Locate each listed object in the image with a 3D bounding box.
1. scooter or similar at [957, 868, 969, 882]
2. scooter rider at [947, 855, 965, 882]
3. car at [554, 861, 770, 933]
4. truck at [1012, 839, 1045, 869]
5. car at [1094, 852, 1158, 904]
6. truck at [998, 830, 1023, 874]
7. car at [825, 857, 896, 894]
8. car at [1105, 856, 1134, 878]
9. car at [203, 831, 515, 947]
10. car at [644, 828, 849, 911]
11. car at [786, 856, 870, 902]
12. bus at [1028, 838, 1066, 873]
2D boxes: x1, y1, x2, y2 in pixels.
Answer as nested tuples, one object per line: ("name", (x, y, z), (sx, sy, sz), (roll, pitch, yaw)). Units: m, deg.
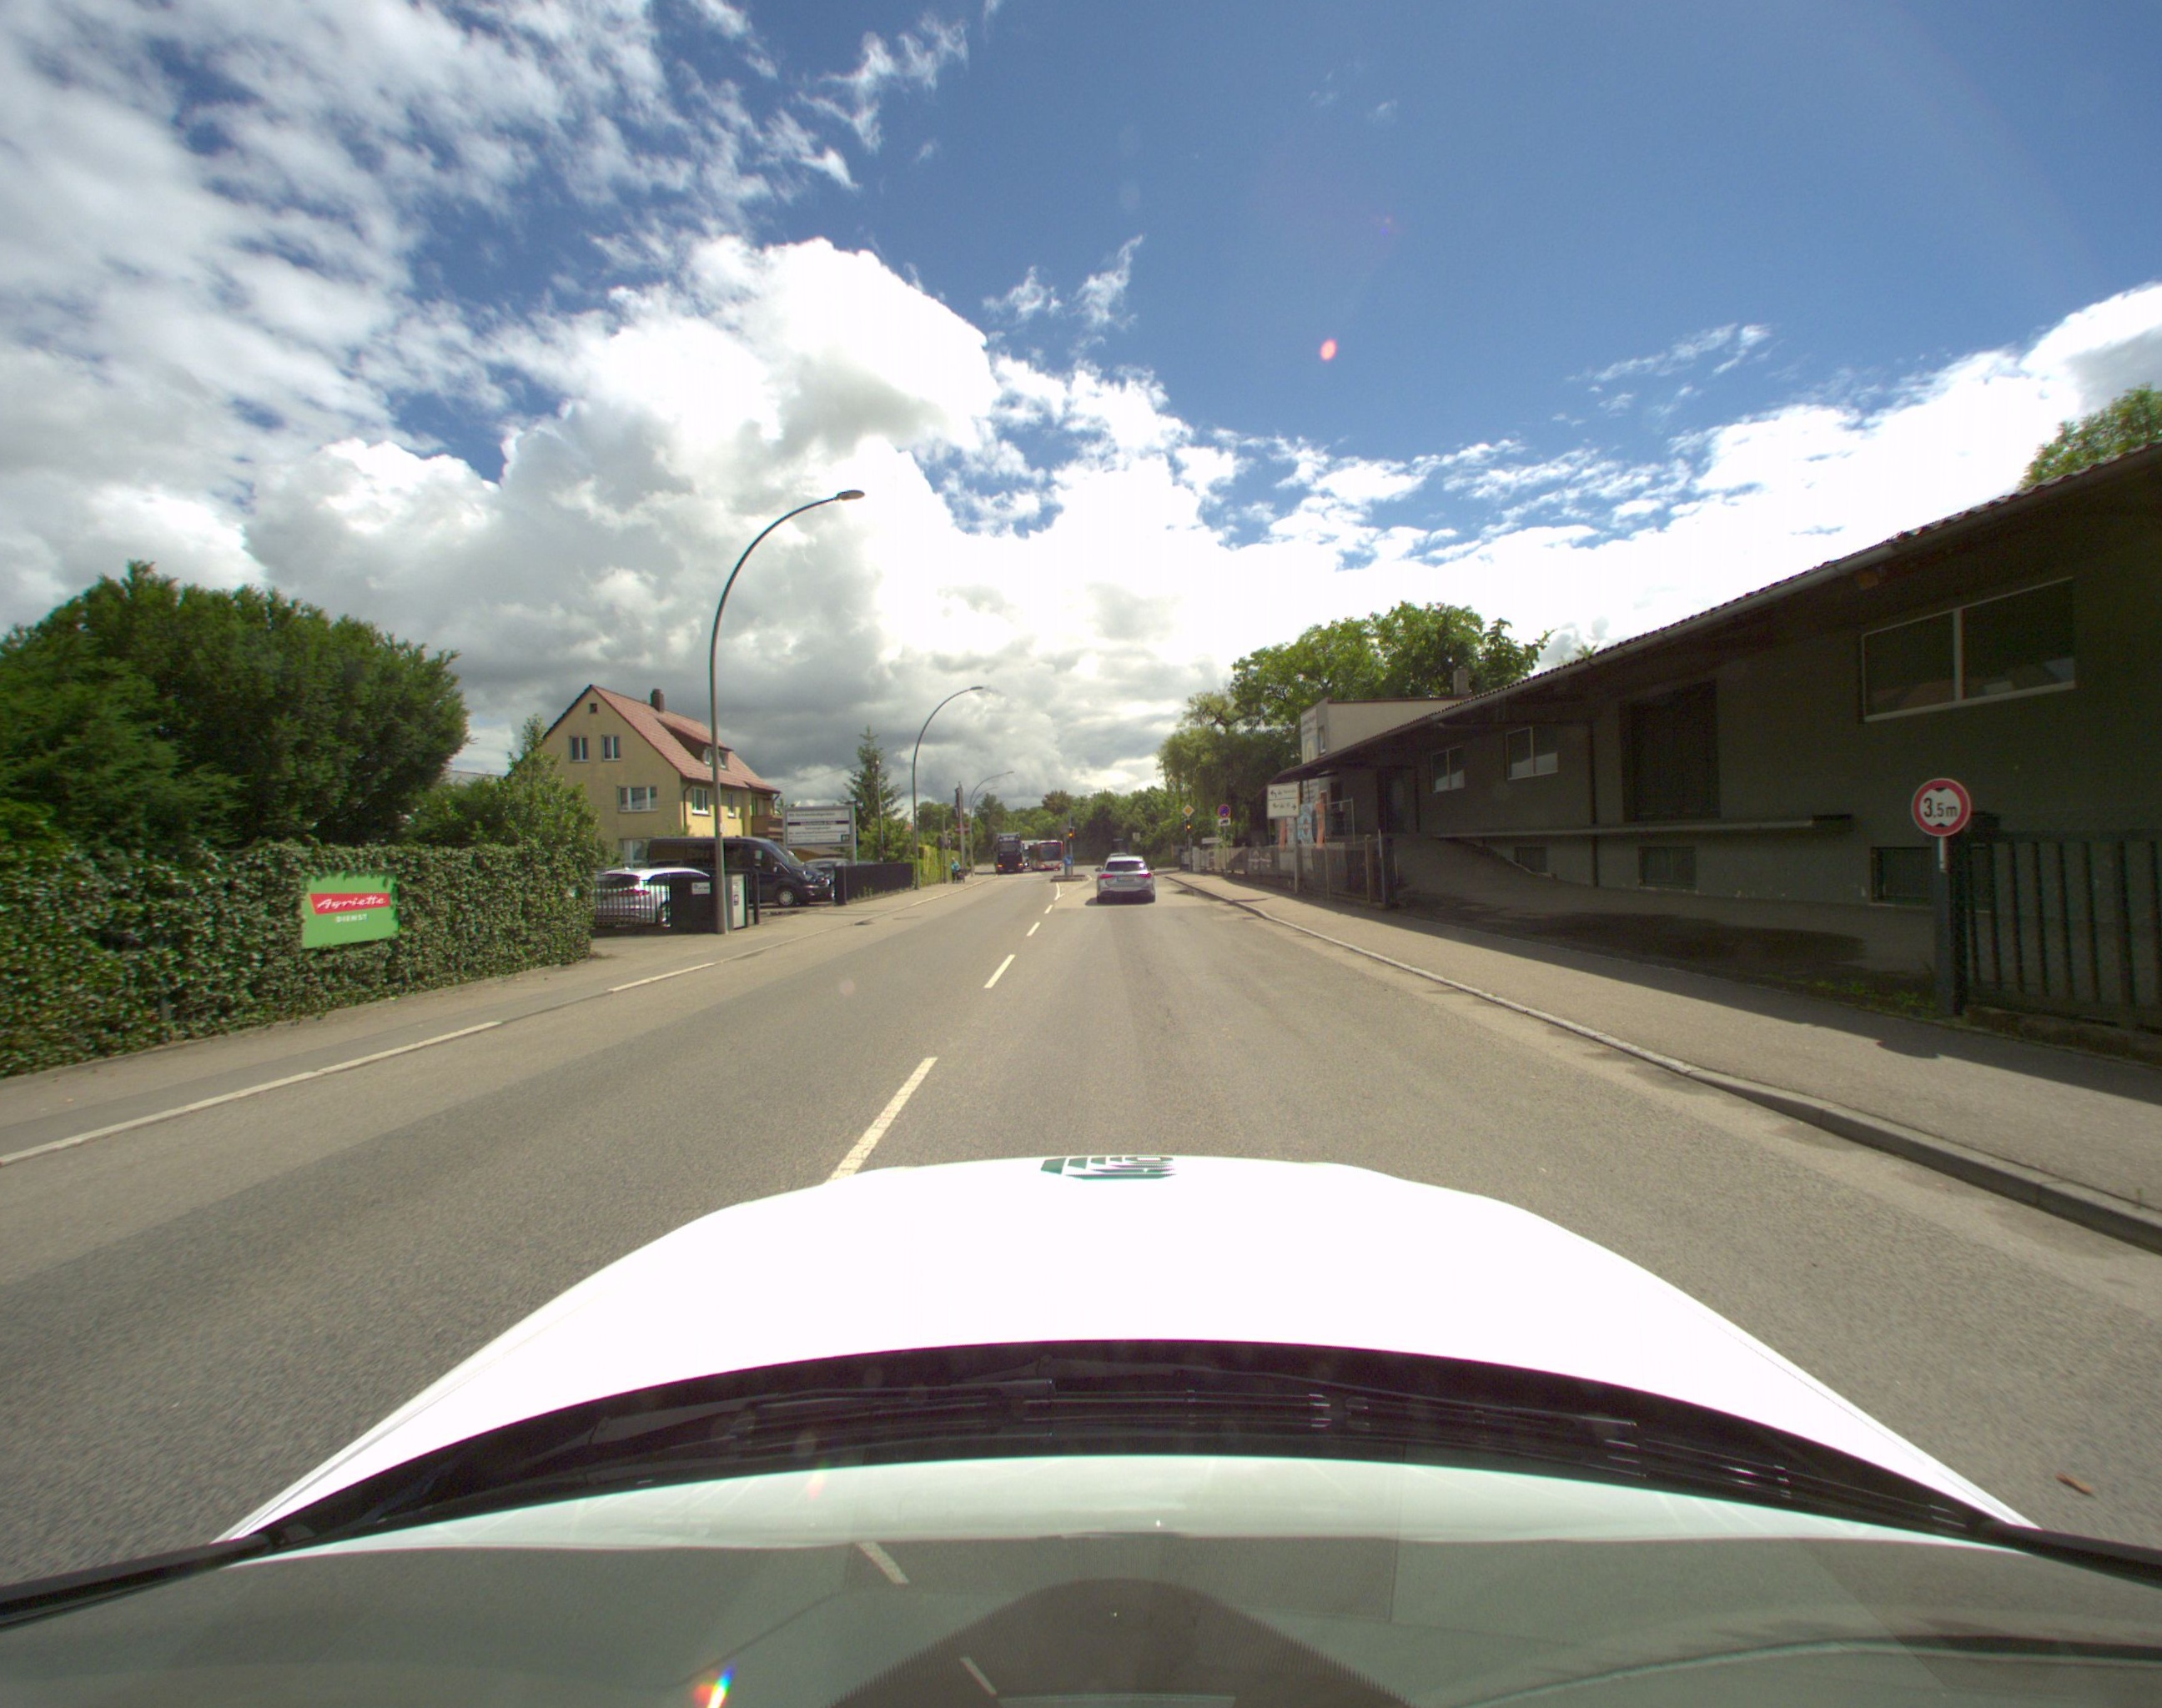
("scooter or similar", (-7.110, 1.270, 49.245), (0.609, 0.831, 0.659), (-1, 0, 1))
("scooter rider", (-7.622, 0.889, 49.624), (0.875, 1.589, 0.796), (-2, 0, 1))
("car", (-10.518, 1.005, 21.081), (1.980, 1.486, 5.358), (-2, 0, 12))
("truck", (-6.919, 0.041, 105.968), (2.841, 3.540, 9.687), (-3, 0, -11))
("car", (1.467, 0.714, 26.358), (1.876, 1.508, 4.004), (-2, 0, 4))
("truck", (-7.099, -0.163, 82.148), (2.425, 4.131, 9.134), (0, -1, -5))
("car", (-9.928, 0.928, 37.019), (2.148, 1.507, 4.264), (-3, 0, -2))
("car", (2.856, 0.951, 60.963), (1.879, 1.508, 3.998), (-2, 0, -1))
("car", (-18.606, 0.799, 21.639), (2.402, 2.495, 6.142), (-4, 0, 4))
("car", (-11.578, 0.515, 28.523), (6.016, 2.496, 2.477), (-3, 0, 0))
("car", (-9.970, 0.947, 32.475), (2.026, 1.595, 4.281), (-3, 0, -2))
("bus", (-3.807, 0.180, 87.126), (2.776, 3.266, 12.089), (-3, 0, -8))
